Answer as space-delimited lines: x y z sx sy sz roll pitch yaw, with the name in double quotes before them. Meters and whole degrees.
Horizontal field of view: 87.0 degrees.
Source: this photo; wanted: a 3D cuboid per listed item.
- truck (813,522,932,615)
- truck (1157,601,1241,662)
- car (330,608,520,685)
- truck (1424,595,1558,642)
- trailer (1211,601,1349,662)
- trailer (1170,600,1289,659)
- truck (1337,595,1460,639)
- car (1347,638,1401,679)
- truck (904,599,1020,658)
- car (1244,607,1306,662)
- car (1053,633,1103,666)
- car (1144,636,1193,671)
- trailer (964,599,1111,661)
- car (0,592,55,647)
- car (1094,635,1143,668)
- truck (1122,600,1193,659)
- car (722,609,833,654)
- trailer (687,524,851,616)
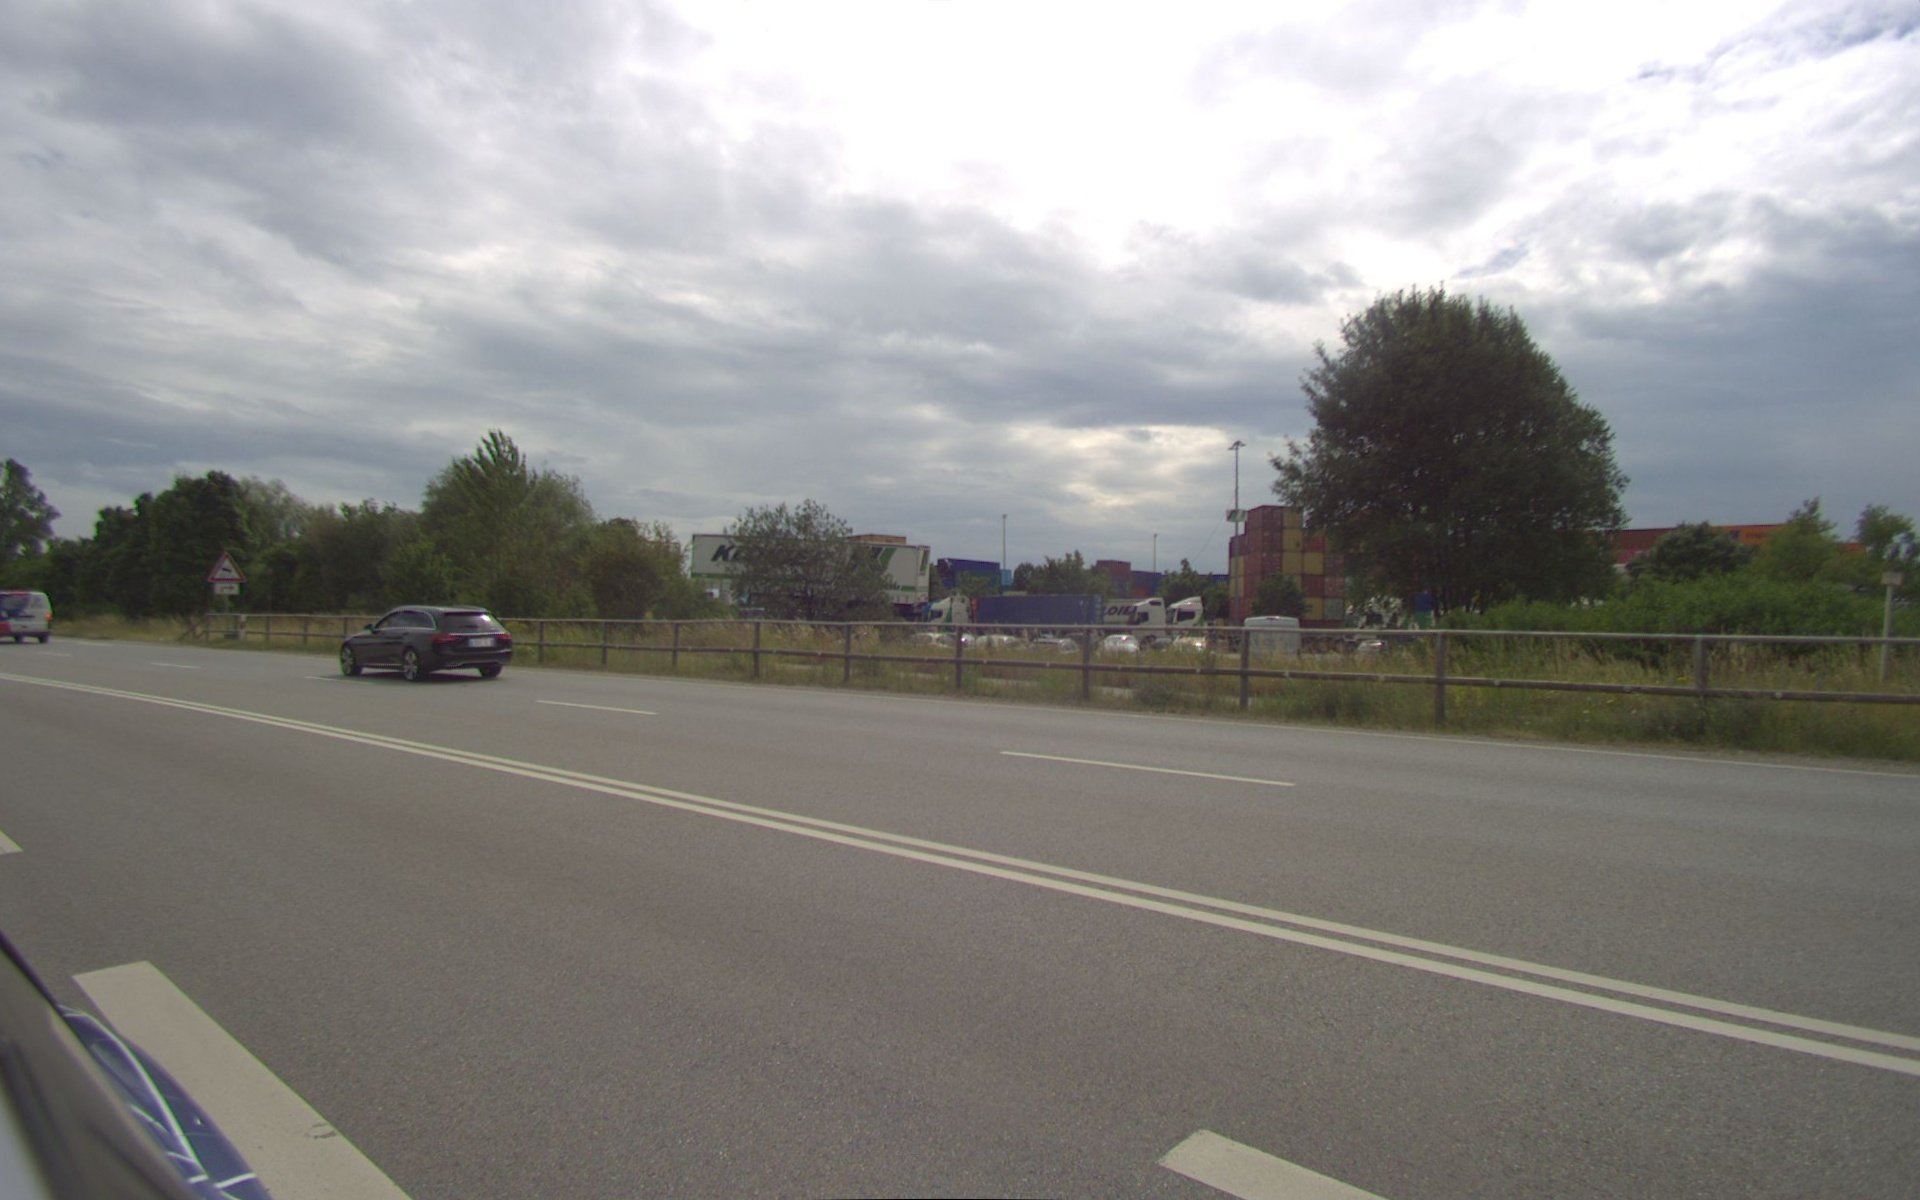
"truck" -4.853 -1.689 56.572 6.126 5.034 2.794 0 0 12
"truck" 17.070 2.227 72.397 5.348 4.325 2.201 0 -1 -4
"car" -11.167 0.904 21.023 4.345 1.452 1.792 -1 -1 36
"truck" 31.584 1.072 60.358 6.560 2.702 2.654 0 -1 -1
"trailer" 22.960 2.241 72.824 9.236 4.325 2.201 0 -1 -4
"trailer" 20.314 2.206 76.397 8.372 4.325 2.201 0 -1 -4
"truck" 27.564 1.071 63.798 6.564 2.702 2.652 0 -1 1
"car" 19.950 2.771 48.680 1.837 1.732 3.958 -1 -1 31
"truck" 0.137 2.125 77.049 8.274 4.325 3.214 -1 -1 26
"car" 11.294 1.187 36.397 1.983 1.747 4.559 -1 0 17
"car" 7.010 2.905 60.024 1.833 1.732 3.967 -1 -1 25
"car" 11.629 2.954 56.245 1.833 1.732 3.967 -1 -1 25
"trailer" 5.651 2.132 74.329 10.348 4.325 3.214 -1 -1 26
"car" -37.117 0.744 39.165 4.653 2.029 1.978 -1 -1 33
"car" 9.177 2.925 58.325 1.833 1.732 3.967 -1 -1 25
"truck" 14.809 2.194 75.983 4.781 4.325 2.201 0 -1 -4
"car" -8.134 1.361 45.211 4.467 1.890 2.006 0 0 -28
"trailer" -10.905 -1.657 57.905 8.891 5.034 2.797 0 0 12
